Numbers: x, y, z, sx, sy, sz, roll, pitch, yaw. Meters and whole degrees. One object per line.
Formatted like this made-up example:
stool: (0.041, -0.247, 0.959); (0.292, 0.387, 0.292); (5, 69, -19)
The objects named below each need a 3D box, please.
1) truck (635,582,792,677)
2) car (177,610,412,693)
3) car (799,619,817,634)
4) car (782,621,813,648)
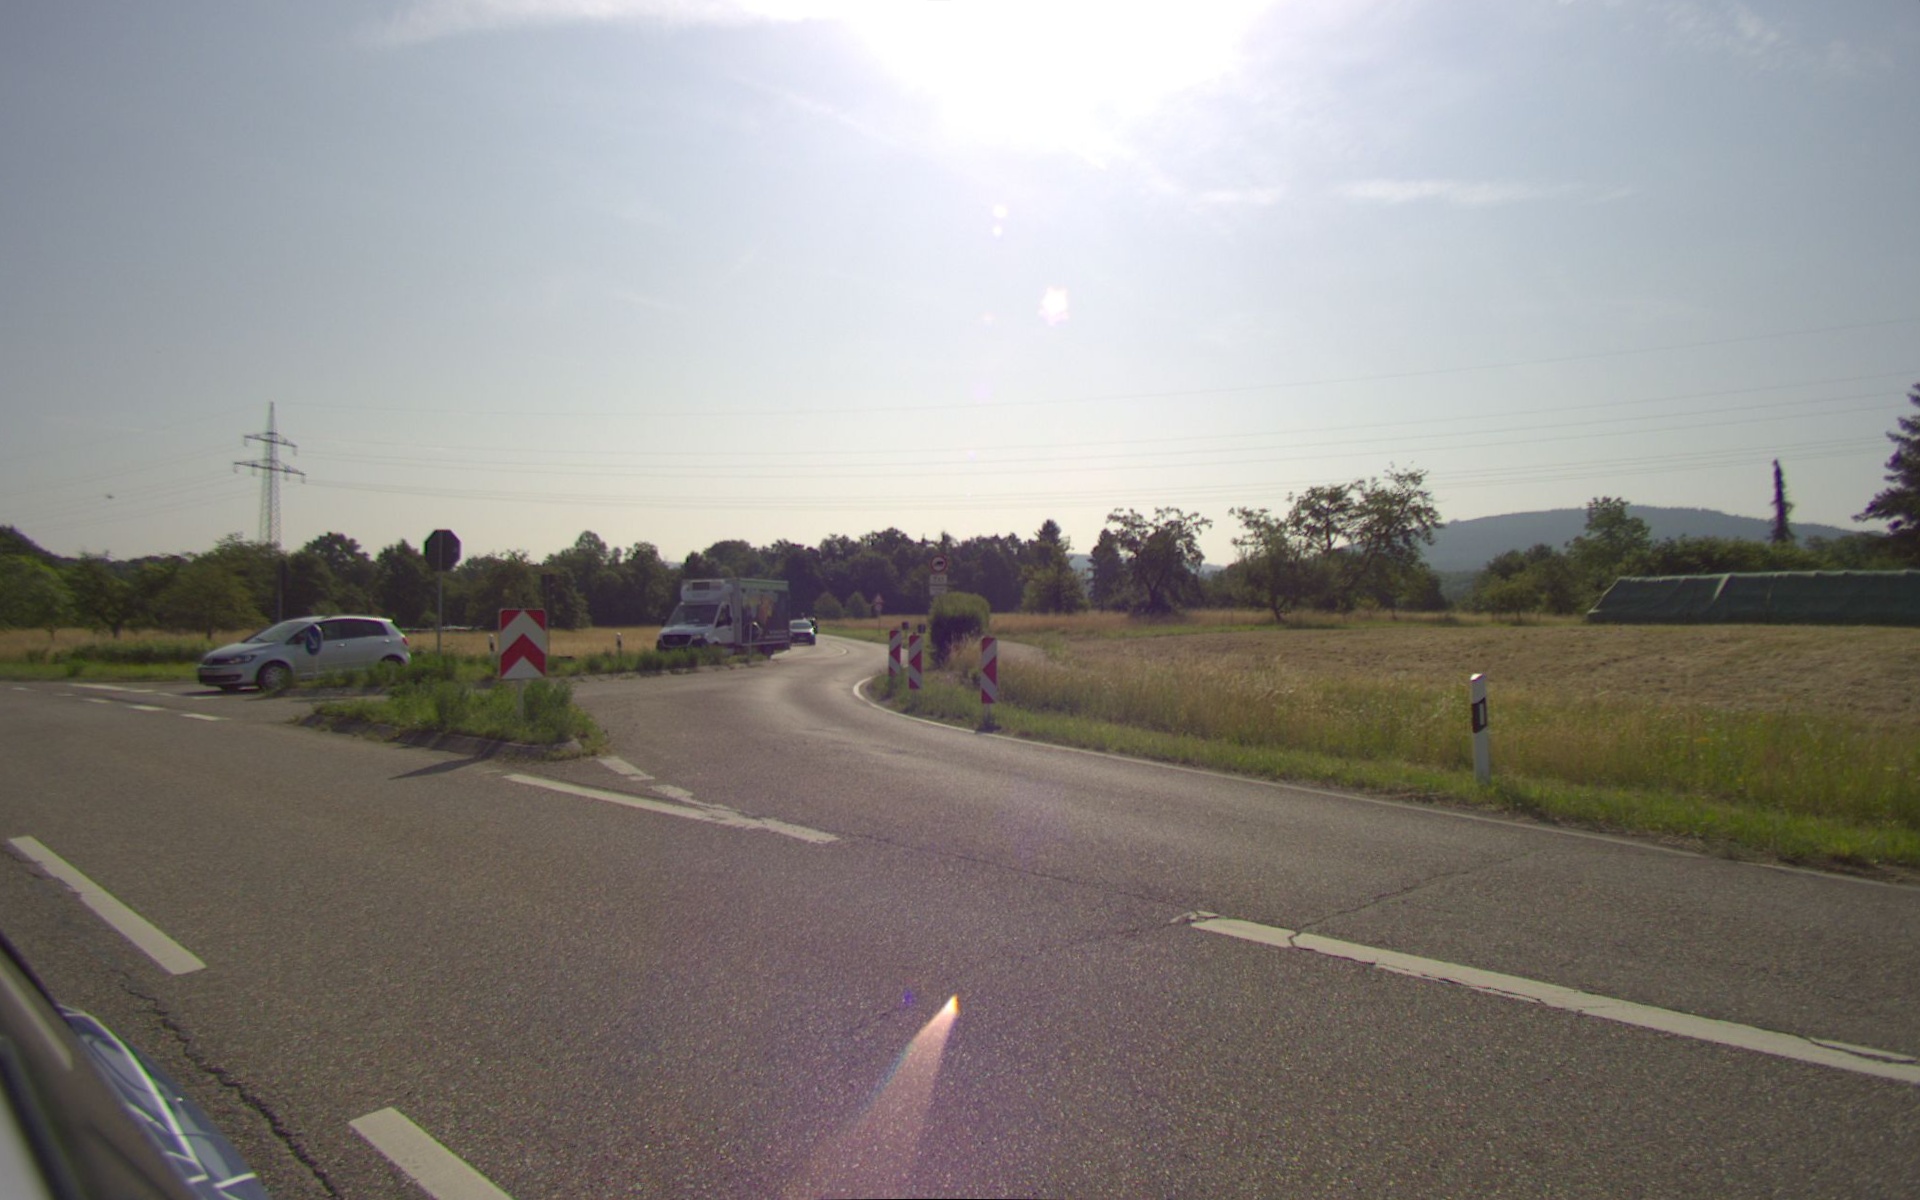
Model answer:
truck: (-8.716, 1.007, 36.819); (2.558, 3.068, 7.335); (-1, -1, 13)
car: (-14.551, 1.065, 22.341); (1.990, 1.592, 3.872); (-2, 0, 28)
car: (-16.681, 2.925, 110.949); (1.789, 1.564, 4.009); (-1, 0, -10)
car: (-10.378, 2.178, 64.535); (1.788, 1.564, 4.009); (-1, 0, -11)
